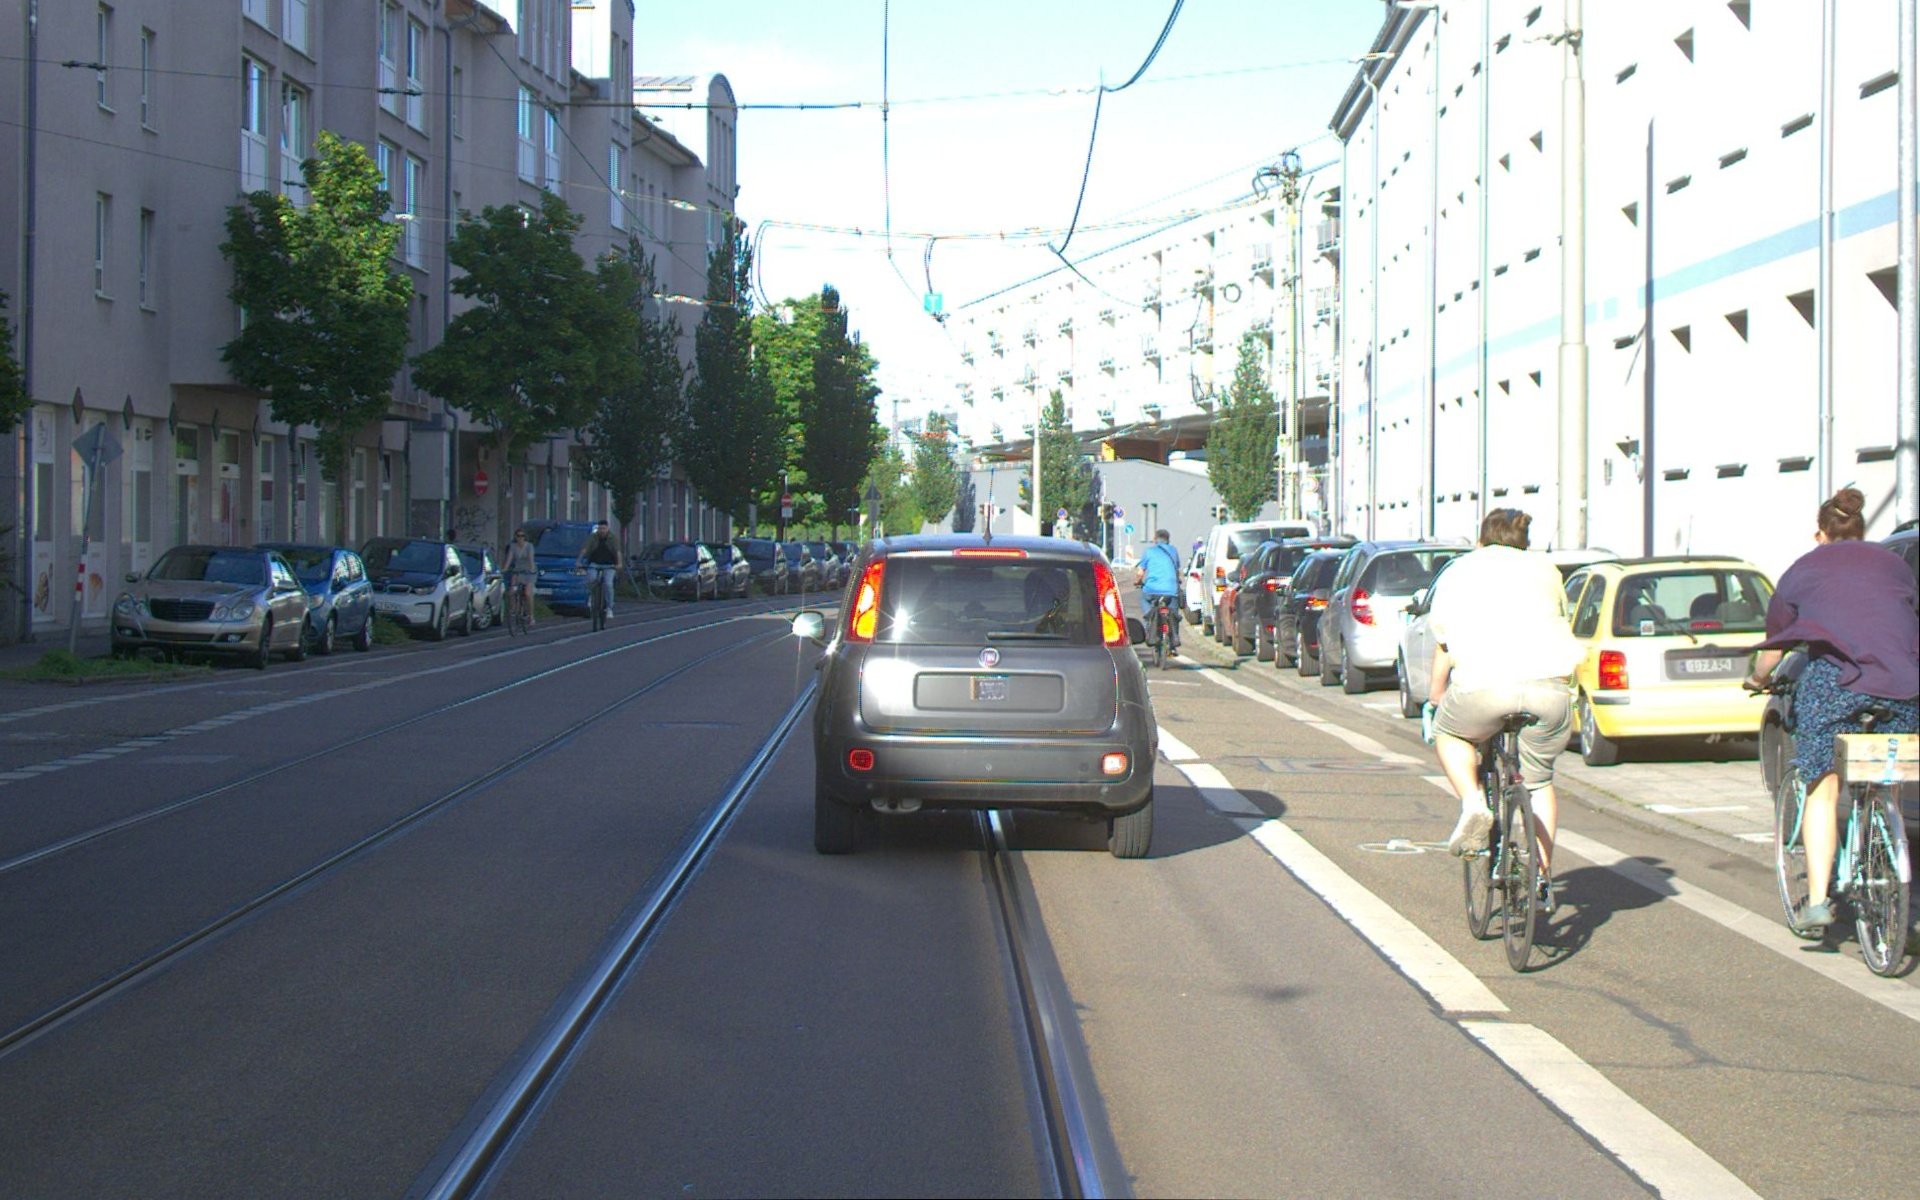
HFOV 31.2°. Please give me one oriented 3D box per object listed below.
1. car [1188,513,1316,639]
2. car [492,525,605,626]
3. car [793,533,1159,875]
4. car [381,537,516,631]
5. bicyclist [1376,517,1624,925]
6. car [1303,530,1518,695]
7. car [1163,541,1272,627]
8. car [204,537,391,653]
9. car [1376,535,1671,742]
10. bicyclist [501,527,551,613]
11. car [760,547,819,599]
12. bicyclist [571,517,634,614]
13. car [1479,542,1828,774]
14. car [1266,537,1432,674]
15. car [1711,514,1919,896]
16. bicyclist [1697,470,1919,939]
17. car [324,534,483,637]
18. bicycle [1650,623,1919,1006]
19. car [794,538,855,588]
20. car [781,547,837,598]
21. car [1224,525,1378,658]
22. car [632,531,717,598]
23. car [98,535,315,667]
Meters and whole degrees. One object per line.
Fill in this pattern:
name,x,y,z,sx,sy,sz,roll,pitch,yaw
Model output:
car,4.776,-0.428,56.742,1.786,1.964,4.154,-1,1,1
car,-8.329,-0.529,69.891,1.665,1.980,4.343,1,1,1
car,-0.009,0.435,17.211,1.556,1.527,3.487,0,1,-4
car,-8.977,-0.316,60.643,1.829,1.588,4.000,0,1,-1
bicyclist,1.996,0.423,12.824,0.727,1.457,1.021,0,1,-1
car,4.721,0.085,36.488,1.754,1.565,3.904,-3,1,1
car,5.062,-0.341,68.152,1.844,1.640,4.549,0,1,1
car,-9.159,-0.105,47.806,1.829,1.484,4.000,-2,1,-1
car,4.645,0.258,28.921,1.679,1.565,4.510,-1,1,0
bicyclist,-7.239,-0.507,57.367,0.623,1.376,0.868,-4,1,0
car,-5.152,-0.839,104.287,1.591,1.535,3.191,0,1,1
bicyclist,-5.954,-0.578,57.274,0.881,1.556,0.868,-3,1,0
car,4.849,0.344,24.572,1.513,1.426,4.202,-3,1,-1
car,4.674,0.031,41.748,1.591,1.532,4.007,-2,1,1
car,4.985,0.421,15.901,1.754,1.660,4.627,-1,1,-3
bicyclist,3.324,0.365,12.756,0.934,1.670,0.970,0,1,-1
car,-8.981,-0.265,55.783,1.830,1.588,4.000,0,1,2
bicycle,3.307,0.749,12.970,0.821,1.232,2.462,2,1,-1
car,-4.479,-1.245,114.422,1.844,1.640,3.697,0,1,1
car,-4.754,-0.878,108.296,1.591,1.535,3.191,0,1,1
car,4.627,-0.147,47.058,1.660,1.664,3.904,-3,1,0
car,-7.089,-0.912,85.671,1.665,1.612,4.000,1,1,1
car,-9.122,-0.025,41.898,1.744,1.438,4.000,3,1,-1
